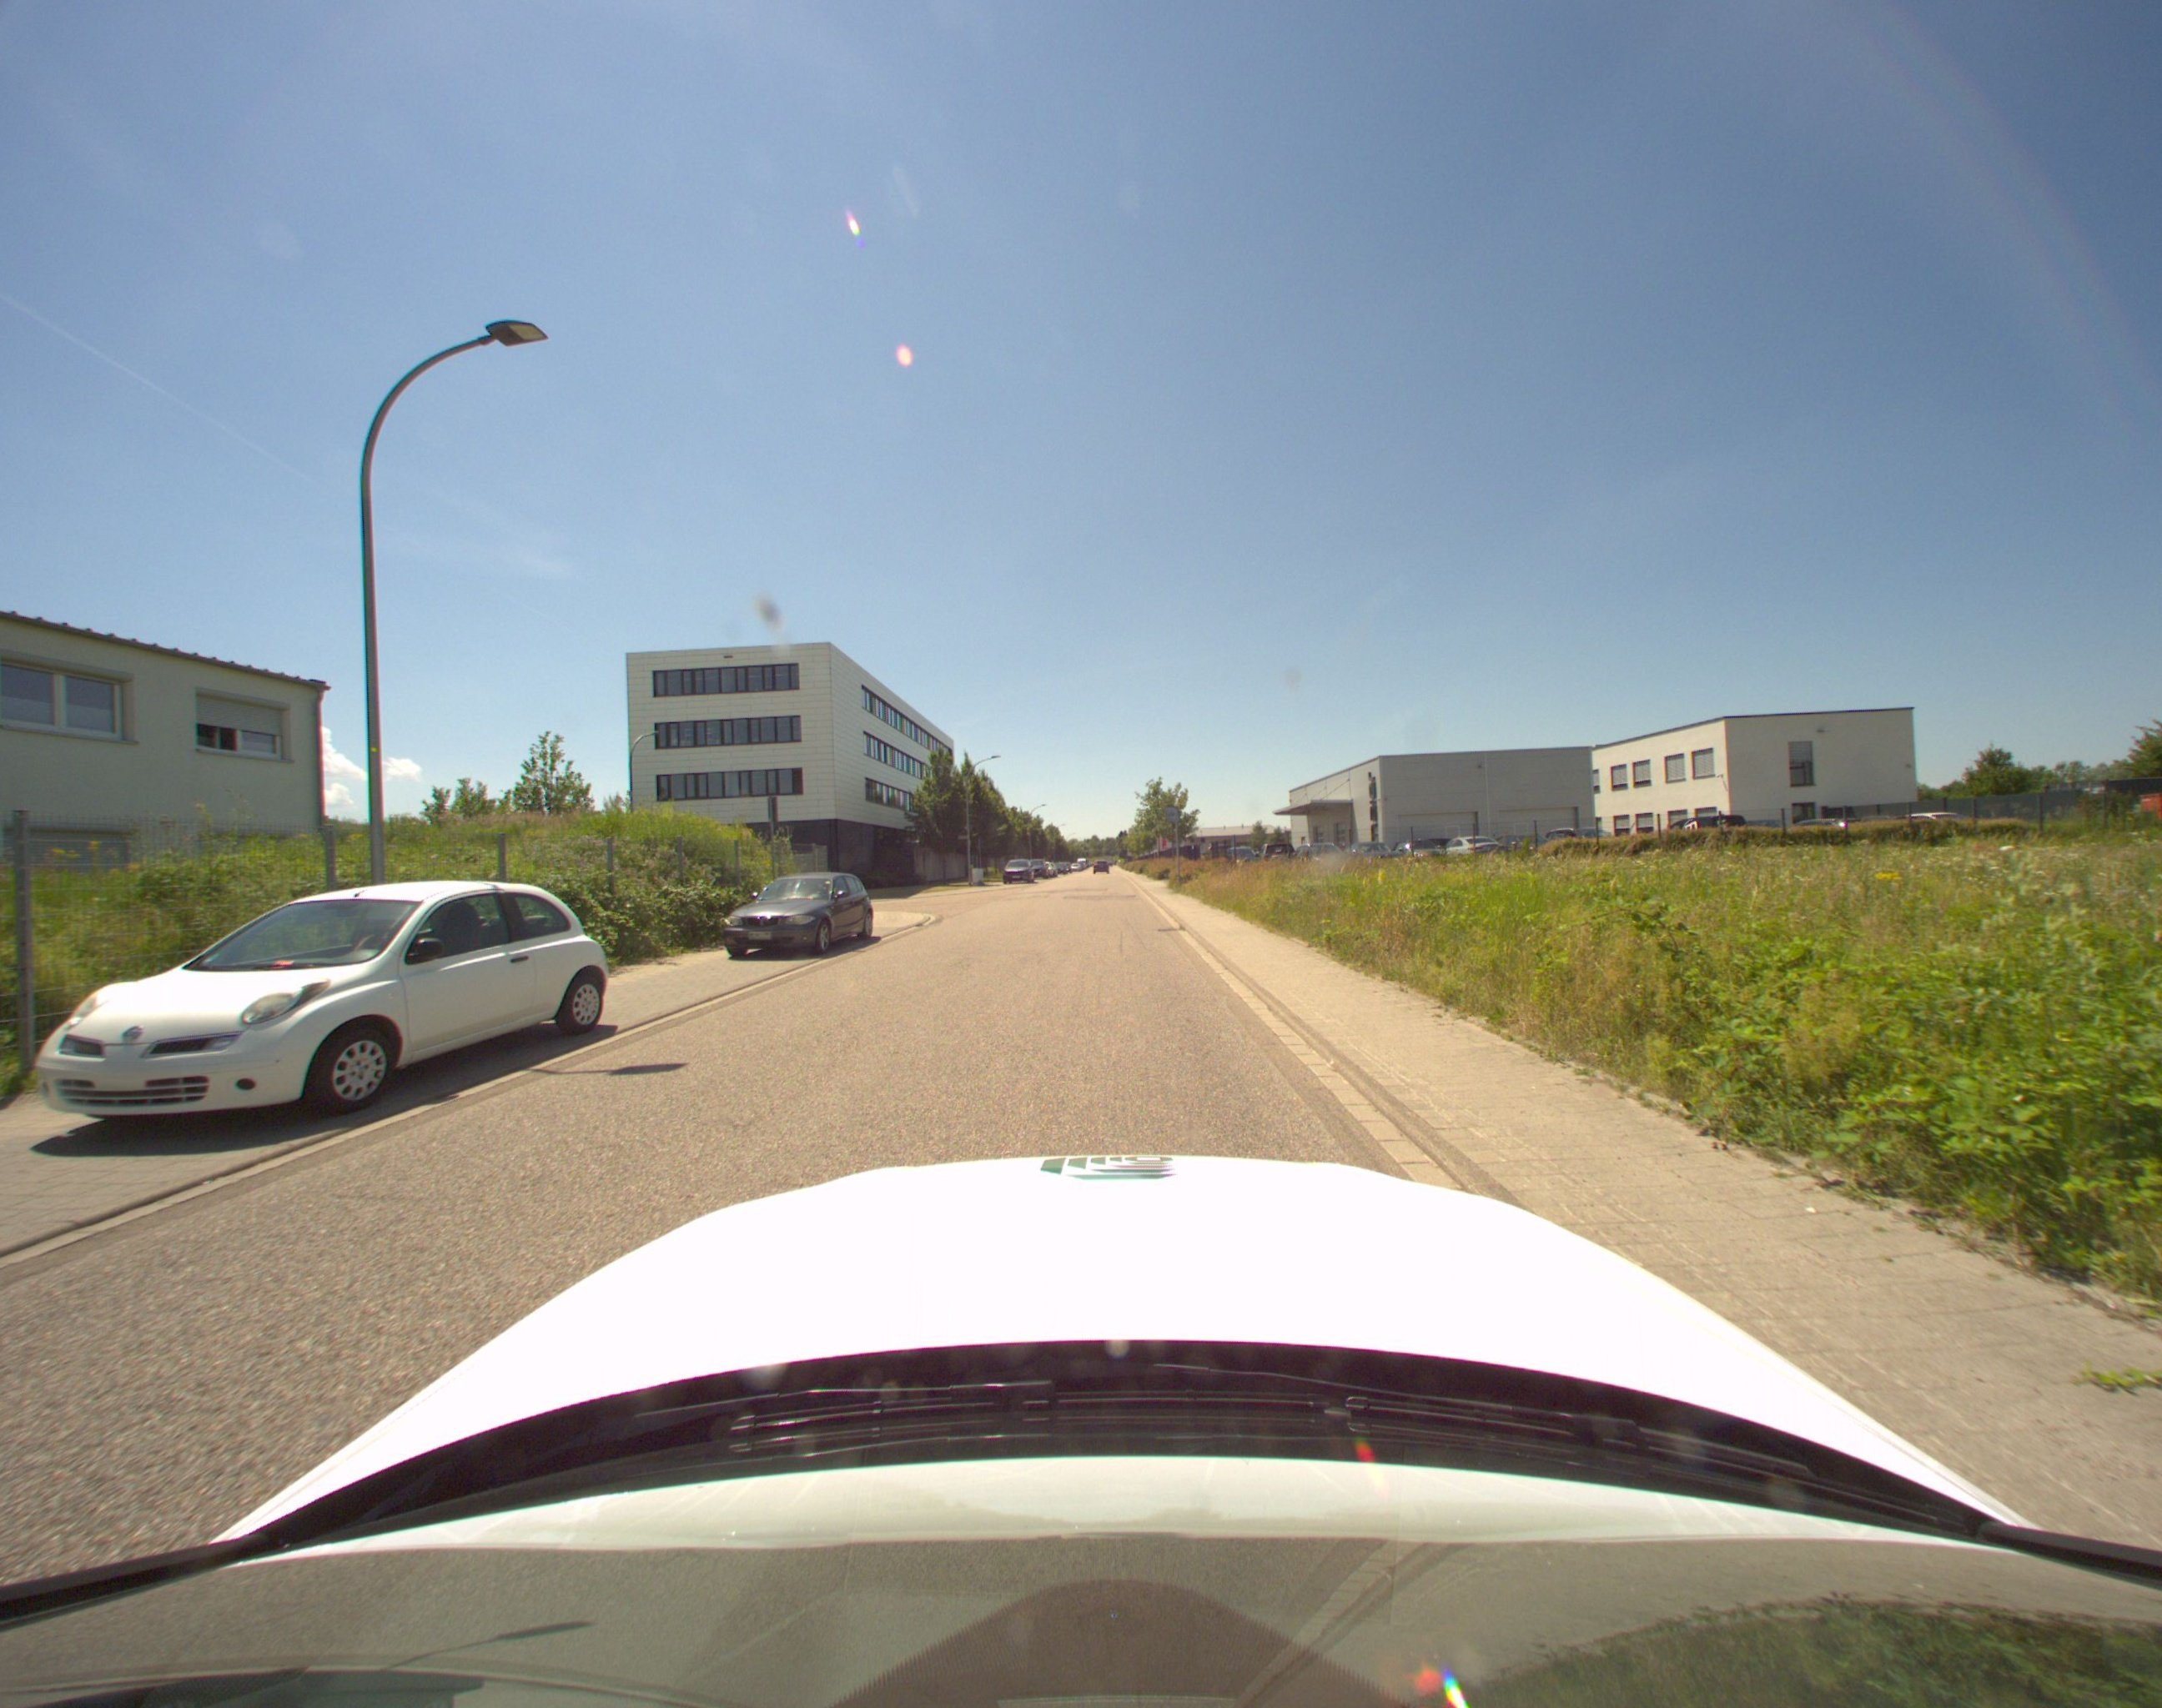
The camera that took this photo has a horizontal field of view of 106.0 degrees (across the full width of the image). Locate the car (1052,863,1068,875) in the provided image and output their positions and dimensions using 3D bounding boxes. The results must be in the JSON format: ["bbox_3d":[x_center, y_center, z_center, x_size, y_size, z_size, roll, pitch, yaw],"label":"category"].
[{"bbox_3d":[-2.652,1.894,102.804,1.764,1.431,4.202,-1,0,2],"label":"car"}]

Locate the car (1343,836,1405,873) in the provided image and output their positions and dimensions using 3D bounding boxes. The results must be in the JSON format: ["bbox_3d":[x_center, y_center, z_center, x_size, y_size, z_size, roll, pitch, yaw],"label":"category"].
[{"bbox_3d":[12.989,0.029,36.286,1.509,1.496,3.332,-3,-1,1],"label":"car"}]

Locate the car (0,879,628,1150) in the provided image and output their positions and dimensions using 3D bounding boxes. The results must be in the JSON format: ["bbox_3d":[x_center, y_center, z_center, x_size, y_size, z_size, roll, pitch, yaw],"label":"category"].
[{"bbox_3d":[-5.666,1.009,6.716,1.668,1.530,3.759,-1,-1,2],"label":"car"}]

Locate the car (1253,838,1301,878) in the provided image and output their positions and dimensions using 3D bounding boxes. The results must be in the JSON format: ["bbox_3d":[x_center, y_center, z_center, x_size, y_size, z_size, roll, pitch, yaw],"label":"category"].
[{"bbox_3d":[8.548,0.191,35.697,1.461,1.574,2.662,-3,-1,2],"label":"car"}]

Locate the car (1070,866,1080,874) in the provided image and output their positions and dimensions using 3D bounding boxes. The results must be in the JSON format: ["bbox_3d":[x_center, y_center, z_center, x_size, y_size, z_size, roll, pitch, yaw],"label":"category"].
[{"bbox_3d":[-1.139,3.009,153.075,1.715,1.476,3.856,-2,-1,-1],"label":"car"}]

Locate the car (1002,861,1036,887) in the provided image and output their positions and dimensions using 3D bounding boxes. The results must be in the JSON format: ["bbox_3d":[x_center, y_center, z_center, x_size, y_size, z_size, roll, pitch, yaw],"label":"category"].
[{"bbox_3d":[-4.132,1.349,55.274,1.764,1.588,4.482,-3,-1,2],"label":"car"}]

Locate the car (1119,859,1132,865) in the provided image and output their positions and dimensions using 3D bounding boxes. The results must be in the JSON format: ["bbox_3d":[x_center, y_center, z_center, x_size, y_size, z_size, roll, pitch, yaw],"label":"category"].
[{"bbox_3d":[13.101,2.279,240.562,3.864,1.750,1.751,-1,-1,-1],"label":"car"}]

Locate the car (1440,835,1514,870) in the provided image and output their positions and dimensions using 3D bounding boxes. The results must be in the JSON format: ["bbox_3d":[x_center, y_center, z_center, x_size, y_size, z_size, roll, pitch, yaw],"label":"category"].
[{"bbox_3d":[17.437,-0.028,36.008,1.509,1.397,3.540,-3,-1,1],"label":"car"}]

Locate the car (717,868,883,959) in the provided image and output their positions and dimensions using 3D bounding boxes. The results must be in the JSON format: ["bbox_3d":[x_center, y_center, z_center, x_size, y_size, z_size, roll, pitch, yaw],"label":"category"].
[{"bbox_3d":[-5.221,1.034,15.714,1.668,1.450,4.070,-1,0,2],"label":"car"}]

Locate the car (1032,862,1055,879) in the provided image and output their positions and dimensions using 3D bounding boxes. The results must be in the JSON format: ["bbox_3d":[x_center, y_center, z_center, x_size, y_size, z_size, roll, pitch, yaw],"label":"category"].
[{"bbox_3d":[-3.465,1.509,75.840,1.764,1.431,4.202,-1,0,2],"label":"car"}]

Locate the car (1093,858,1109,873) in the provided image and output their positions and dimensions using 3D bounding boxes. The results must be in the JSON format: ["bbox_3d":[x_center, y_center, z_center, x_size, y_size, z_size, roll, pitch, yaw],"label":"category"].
[{"bbox_3d":[2.307,1.345,92.996,1.783,1.623,3.810,-1,-1,2],"label":"car"}]

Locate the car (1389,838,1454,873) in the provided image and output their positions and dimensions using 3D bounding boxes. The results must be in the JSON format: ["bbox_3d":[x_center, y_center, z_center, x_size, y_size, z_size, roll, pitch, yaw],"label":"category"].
[{"bbox_3d":[15.090,0.085,36.240,1.452,1.412,3.332,-3,-1,1],"label":"car"}]

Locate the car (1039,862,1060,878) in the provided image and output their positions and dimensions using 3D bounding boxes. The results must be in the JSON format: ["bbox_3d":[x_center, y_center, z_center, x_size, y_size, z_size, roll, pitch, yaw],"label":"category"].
[{"bbox_3d":[-3.098,1.573,80.479,1.764,1.431,3.941,-1,0,2],"label":"car"}]

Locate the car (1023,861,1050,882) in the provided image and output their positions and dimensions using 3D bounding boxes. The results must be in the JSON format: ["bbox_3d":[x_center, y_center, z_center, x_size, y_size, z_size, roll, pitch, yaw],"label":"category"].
[{"bbox_3d":[-3.669,1.408,67.769,1.764,1.623,4.584,-1,0,2],"label":"car"}]

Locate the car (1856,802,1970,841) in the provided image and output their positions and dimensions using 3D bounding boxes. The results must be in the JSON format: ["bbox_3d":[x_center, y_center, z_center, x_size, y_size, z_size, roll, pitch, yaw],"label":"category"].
[{"bbox_3d":[38.647,-1.467,37.967,1.521,1.526,3.648,-3,-1,1],"label":"car"}]

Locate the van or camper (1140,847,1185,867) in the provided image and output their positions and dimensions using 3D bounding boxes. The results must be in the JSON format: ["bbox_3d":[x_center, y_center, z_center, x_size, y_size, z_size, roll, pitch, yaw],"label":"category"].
[{"bbox_3d":[12.564,0.486,125.808,6.734,2.585,2.636,-3,-1,0],"label":"van or camper"}]

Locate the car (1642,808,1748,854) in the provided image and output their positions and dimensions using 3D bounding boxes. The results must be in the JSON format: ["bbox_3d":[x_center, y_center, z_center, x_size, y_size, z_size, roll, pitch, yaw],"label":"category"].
[{"bbox_3d":[28.251,-1.014,37.655,1.742,1.847,4.126,-3,-1,1],"label":"car"}]

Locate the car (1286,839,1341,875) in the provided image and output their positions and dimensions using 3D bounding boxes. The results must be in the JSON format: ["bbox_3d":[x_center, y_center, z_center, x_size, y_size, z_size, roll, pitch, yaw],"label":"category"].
[{"bbox_3d":[10.515,0.142,37.083,1.509,1.496,3.332,-3,-1,1],"label":"car"}]

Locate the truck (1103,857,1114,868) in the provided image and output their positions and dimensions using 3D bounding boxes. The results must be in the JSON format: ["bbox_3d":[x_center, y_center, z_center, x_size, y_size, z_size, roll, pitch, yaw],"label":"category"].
[{"bbox_3d":[7.623,2.474,225.522,2.921,2.974,6.422,-1,-1,2],"label":"truck"}]

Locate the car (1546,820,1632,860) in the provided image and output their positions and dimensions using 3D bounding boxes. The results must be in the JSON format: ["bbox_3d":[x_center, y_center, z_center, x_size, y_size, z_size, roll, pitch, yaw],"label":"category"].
[{"bbox_3d":[22.975,-0.600,37.001,1.509,1.633,3.784,-3,-1,1],"label":"car"}]

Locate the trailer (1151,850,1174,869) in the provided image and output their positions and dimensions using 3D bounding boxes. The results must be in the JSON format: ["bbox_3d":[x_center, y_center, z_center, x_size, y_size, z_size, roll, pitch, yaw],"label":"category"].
[{"bbox_3d":[10.942,0.721,109.518,2.816,2.403,1.418,-4,-1,-3],"label":"trailer"}]
